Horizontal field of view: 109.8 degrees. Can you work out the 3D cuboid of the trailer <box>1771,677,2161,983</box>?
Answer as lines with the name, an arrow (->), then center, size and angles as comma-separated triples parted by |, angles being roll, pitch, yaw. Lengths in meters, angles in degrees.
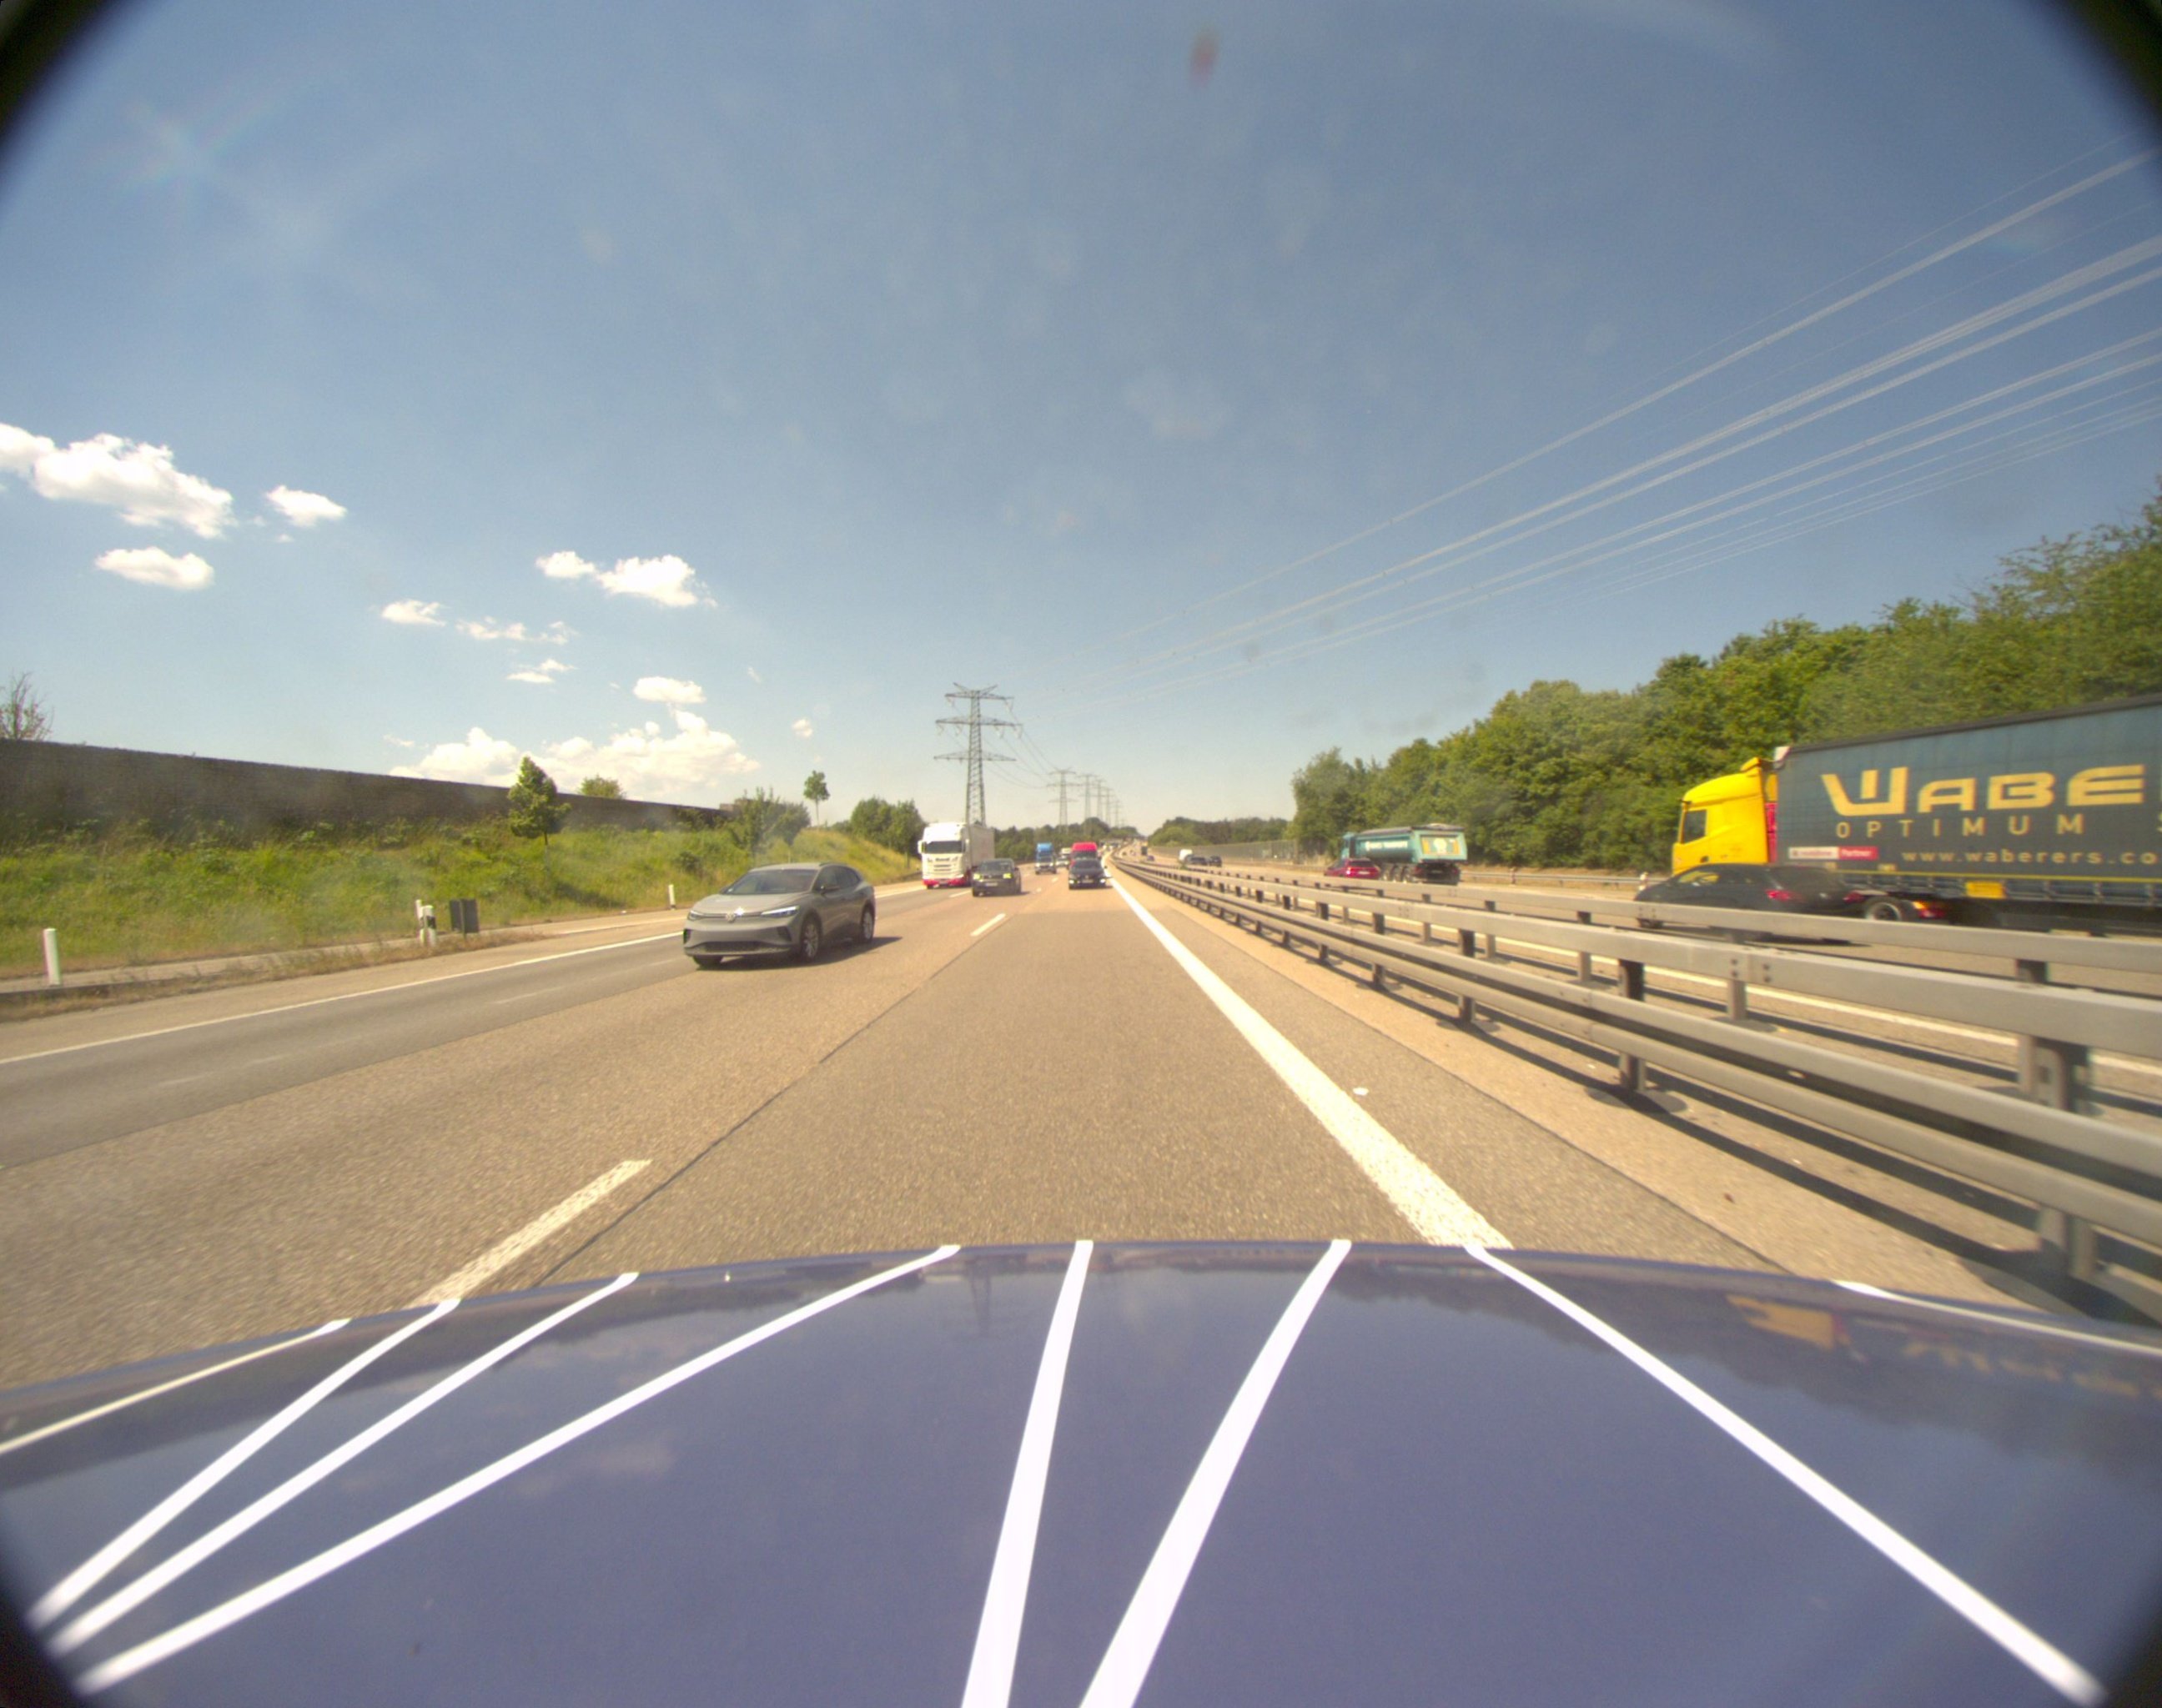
trailer -> 16.830, -0.355, 9.897 | 3.182, 4.315, 13.812 | -1, 0, 0

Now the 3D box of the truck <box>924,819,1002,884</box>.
truck -> -7.854, -0.156, 52.611 | 3.076, 3.885, 12.504 | -2, 0, 1

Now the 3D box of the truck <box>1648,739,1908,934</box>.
truck -> 16.842, -0.378, 18.683 | 3.182, 4.316, 3.513 | -1, 0, 0

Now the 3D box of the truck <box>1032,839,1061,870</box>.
truck -> -5.917, 0.044, 132.867 | 3.797, 4.970, 14.924 | -2, 0, 1

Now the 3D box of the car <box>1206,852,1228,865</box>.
car -> 19.159, 0.609, 107.442 | 2.163, 1.789, 4.512 | 1, 0, -1

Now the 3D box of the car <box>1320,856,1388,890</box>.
car -> 13.624, 0.916, 38.159 | 1.786, 1.521, 4.384 | 2, 0, 0

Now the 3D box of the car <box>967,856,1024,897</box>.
car -> -3.745, 0.958, 33.923 | 1.955, 1.636, 4.047 | -2, 0, 1

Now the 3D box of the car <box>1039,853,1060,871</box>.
car -> -2.991, 0.741, 72.706 | 1.749, 1.691, 4.089 | 0, 0, 2

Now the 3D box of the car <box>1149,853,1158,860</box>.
car -> 17.941, 0.626, 187.624 | 1.786, 1.465, 4.355 | 2, 0, 2

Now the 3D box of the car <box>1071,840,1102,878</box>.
car -> 0.457, 0.328, 54.075 | 2.100, 2.598, 4.497 | 0, 0, 2

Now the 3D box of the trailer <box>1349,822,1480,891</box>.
trailer -> 17.672, 0.116, 41.190 | 2.921, 3.281, 9.710 | -1, 0, 1

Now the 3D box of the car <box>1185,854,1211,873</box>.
car -> 10.350, 0.823, 67.413 | 1.786, 1.615, 4.000 | 0, 0, 1

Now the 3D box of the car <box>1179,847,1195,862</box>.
car -> 20.222, 0.080, 145.175 | 2.114, 2.624, 6.004 | 1, 0, 1

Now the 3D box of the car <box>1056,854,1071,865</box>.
car -> -2.503, 0.752, 107.761 | 1.879, 1.591, 3.689 | 0, 0, 2

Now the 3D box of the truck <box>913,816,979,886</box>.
truck -> -7.997, -0.158, 45.517 | 3.076, 3.885, 3.847 | -2, 0, 1

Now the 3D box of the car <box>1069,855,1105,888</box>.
car -> 0.320, 0.851, 37.989 | 1.735, 1.535, 3.750 | 0, 0, 1

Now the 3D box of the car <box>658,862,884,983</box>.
car -> -5.110, 1.028, 13.364 | 1.872, 1.627, 4.586 | -2, 0, 2

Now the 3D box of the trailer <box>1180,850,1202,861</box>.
trailer -> 20.037, 0.306, 138.819 | 2.772, 1.934, 6.722 | 1, 0, -1

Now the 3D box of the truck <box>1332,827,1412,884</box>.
truck -> 17.718, 0.096, 46.624 | 2.921, 3.281, 5.331 | -1, 0, 1

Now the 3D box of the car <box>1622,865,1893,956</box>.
car -> 12.977, 0.990, 14.989 | 1.716, 1.460, 4.147 | 1, 0, 2
